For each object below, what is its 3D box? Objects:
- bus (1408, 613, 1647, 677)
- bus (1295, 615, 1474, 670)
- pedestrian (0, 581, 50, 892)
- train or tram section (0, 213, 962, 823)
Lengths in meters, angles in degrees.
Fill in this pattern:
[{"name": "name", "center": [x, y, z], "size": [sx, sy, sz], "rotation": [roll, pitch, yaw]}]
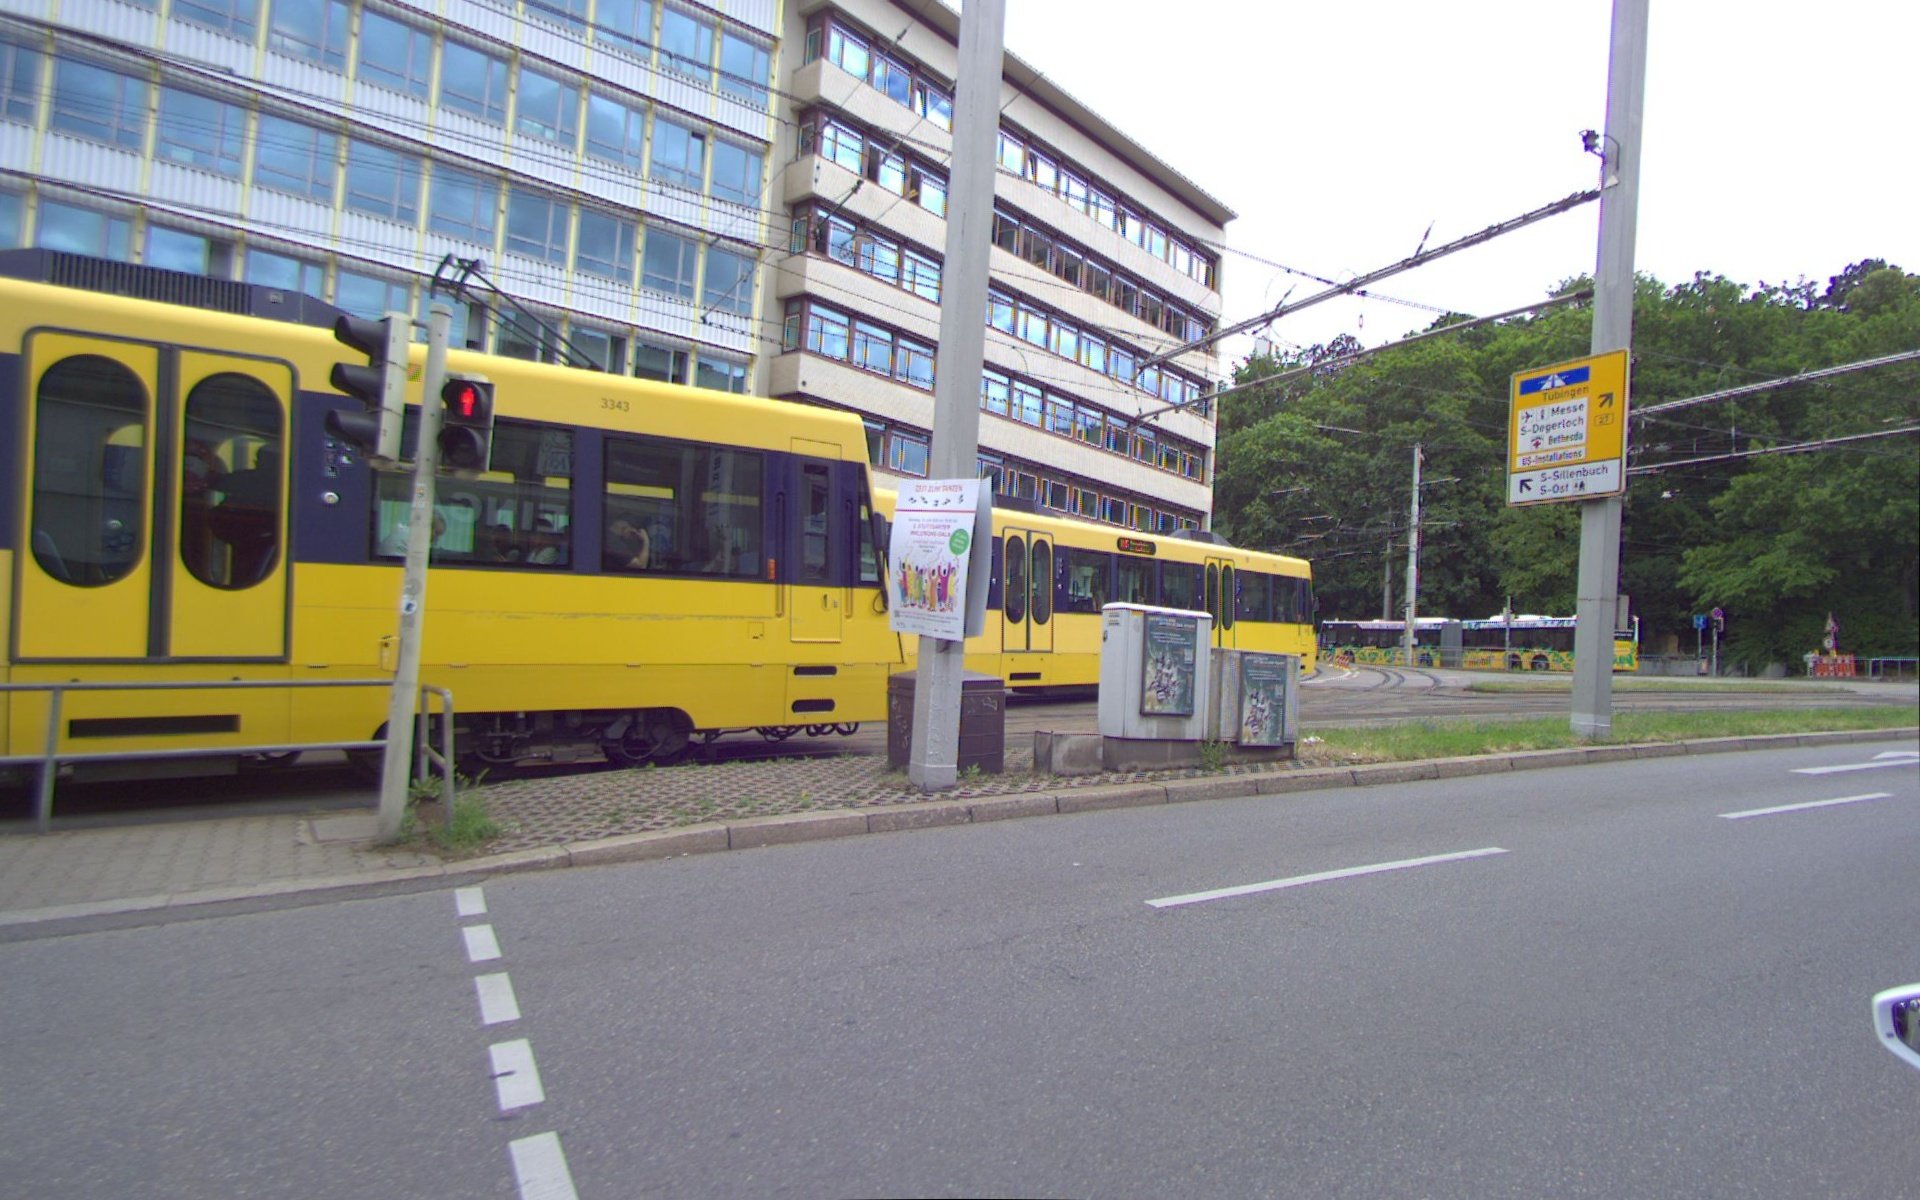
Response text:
[{"name": "bus", "center": [29.775, 2.363, 53.675], "size": [3.342, 3.069, 11.486], "rotation": [1, -2, -23]}, {"name": "bus", "center": [26.095, 2.624, 62.668], "size": [3.276, 3.083, 11.304], "rotation": [1, -2, -22]}, {"name": "pedestrian", "center": [-4.837, 0.624, 4.595], "size": [0.665, 1.482, 0.577], "rotation": [5, -4, -14]}, {"name": "train or tram section", "center": [-6.666, -0.485, 7.286], "size": [14.332, 3.712, 2.863], "rotation": [3, -2, -35]}]
